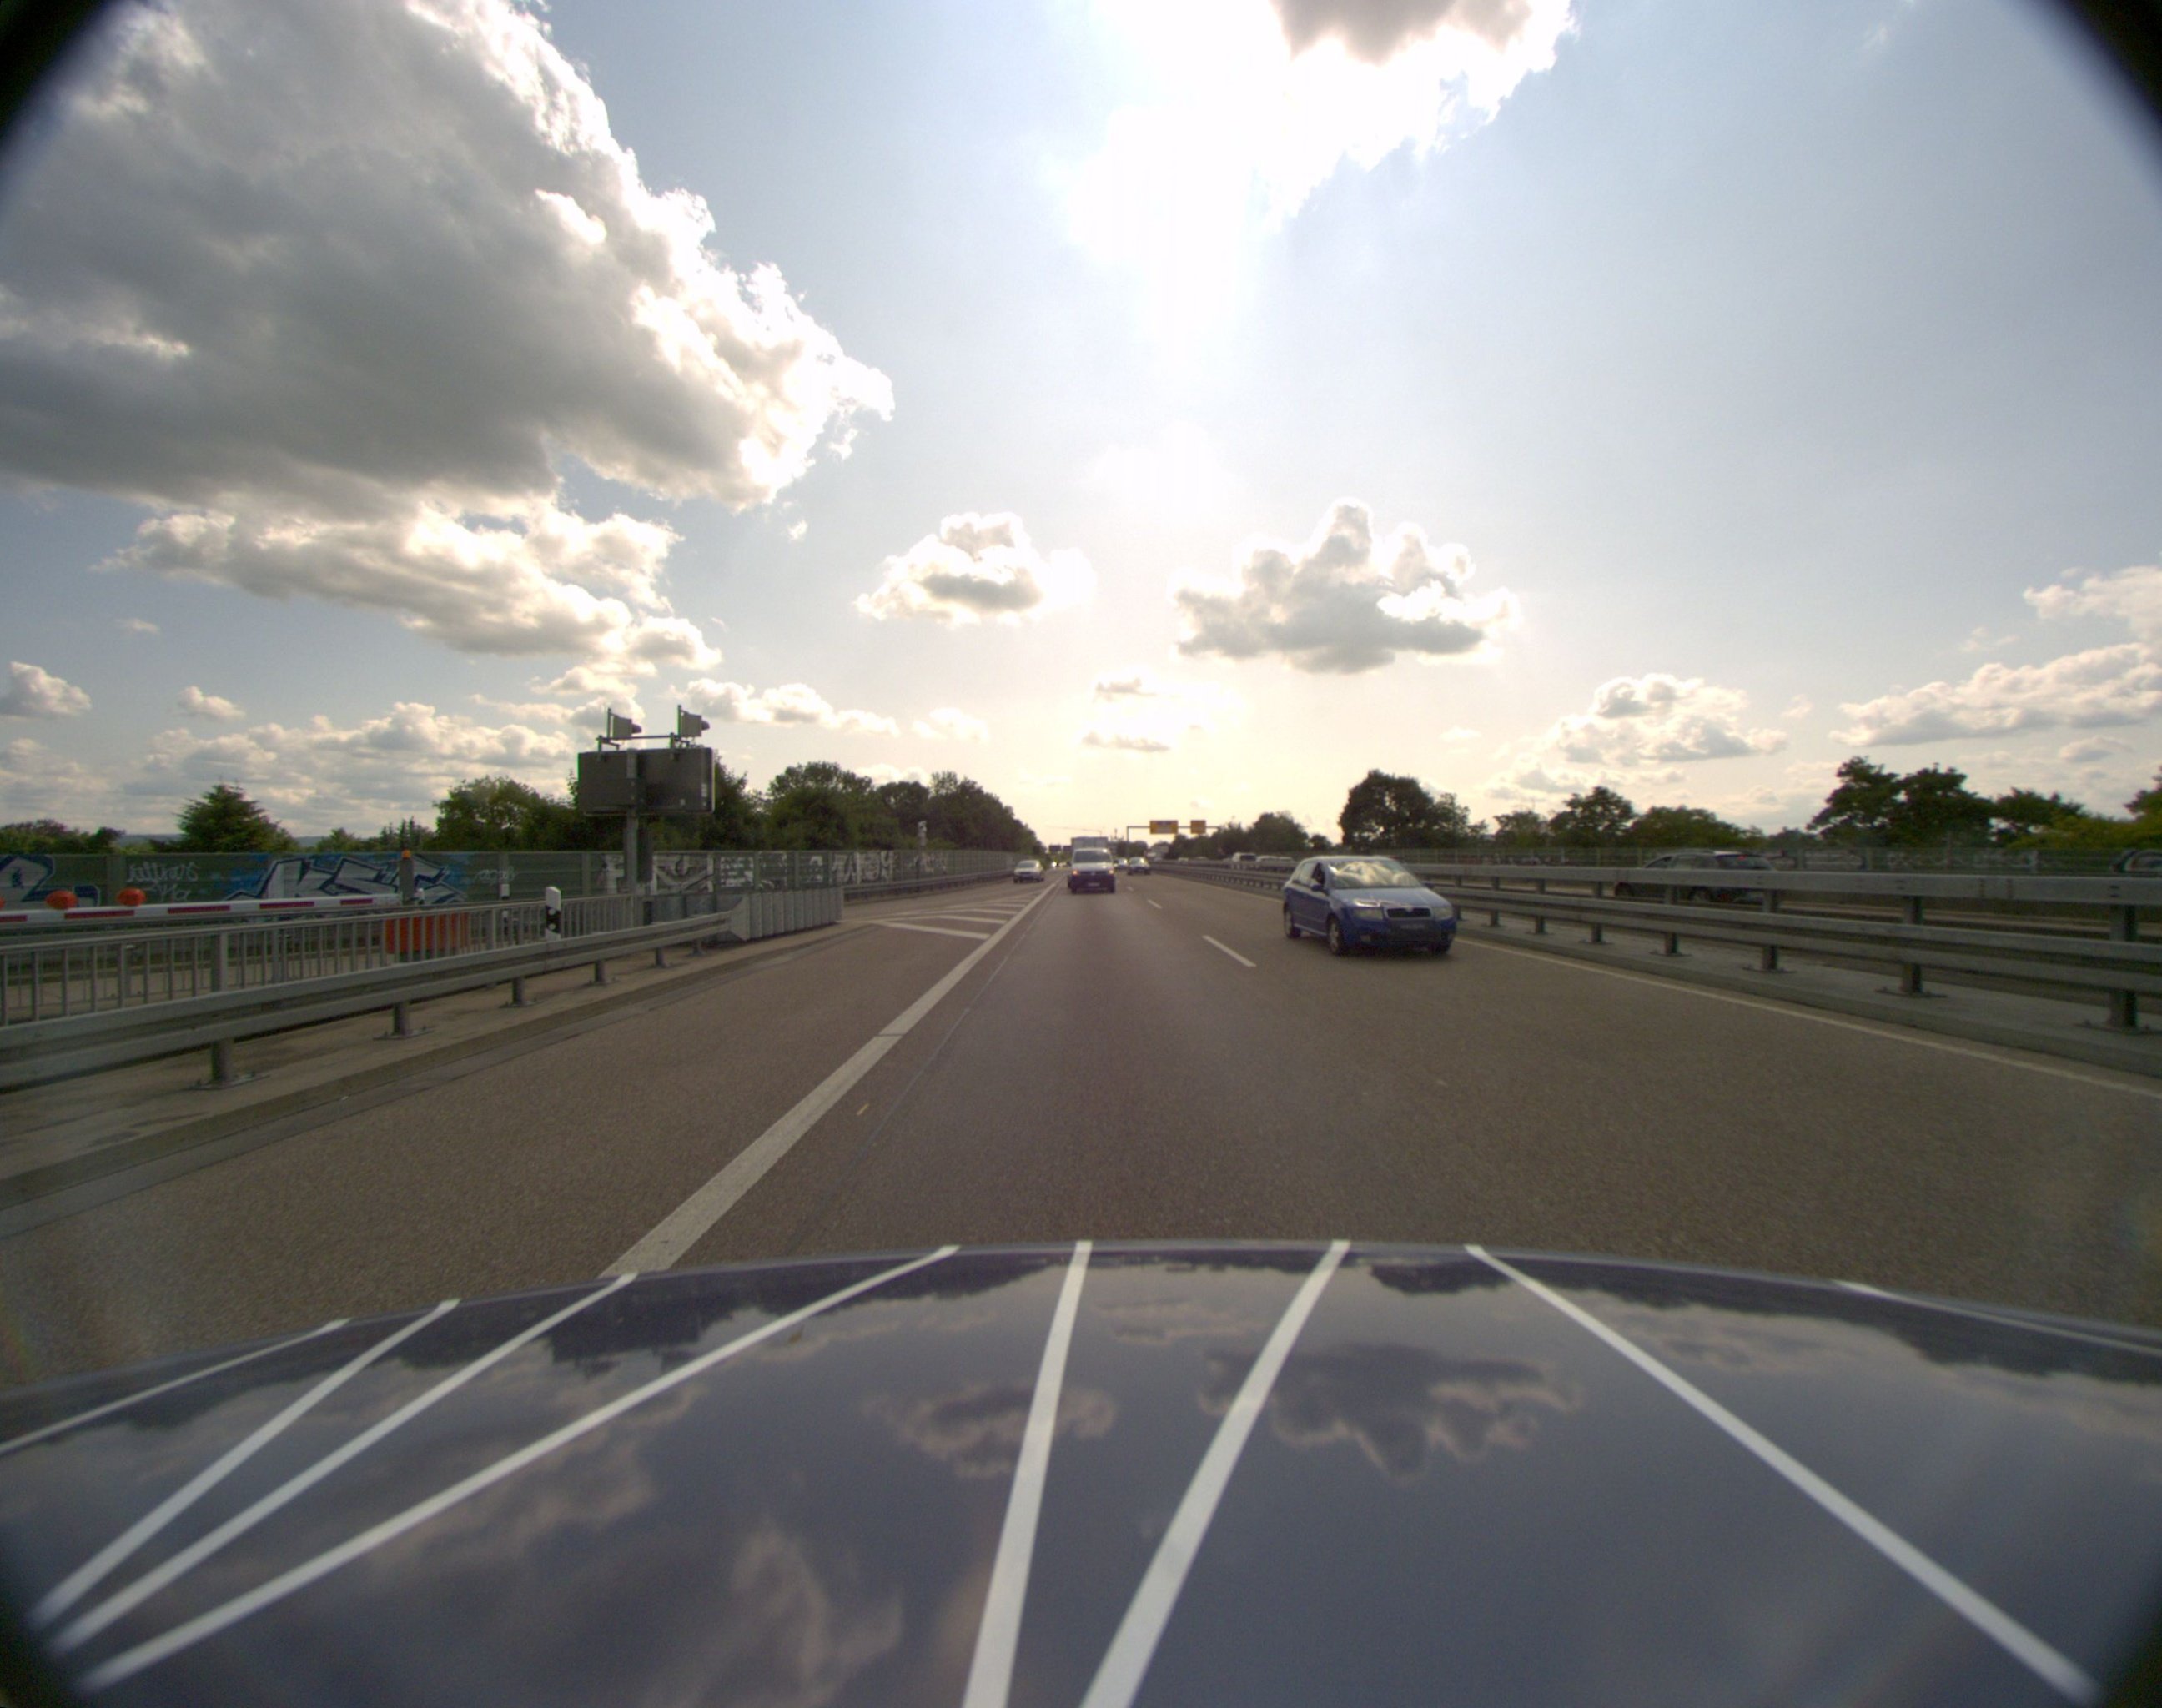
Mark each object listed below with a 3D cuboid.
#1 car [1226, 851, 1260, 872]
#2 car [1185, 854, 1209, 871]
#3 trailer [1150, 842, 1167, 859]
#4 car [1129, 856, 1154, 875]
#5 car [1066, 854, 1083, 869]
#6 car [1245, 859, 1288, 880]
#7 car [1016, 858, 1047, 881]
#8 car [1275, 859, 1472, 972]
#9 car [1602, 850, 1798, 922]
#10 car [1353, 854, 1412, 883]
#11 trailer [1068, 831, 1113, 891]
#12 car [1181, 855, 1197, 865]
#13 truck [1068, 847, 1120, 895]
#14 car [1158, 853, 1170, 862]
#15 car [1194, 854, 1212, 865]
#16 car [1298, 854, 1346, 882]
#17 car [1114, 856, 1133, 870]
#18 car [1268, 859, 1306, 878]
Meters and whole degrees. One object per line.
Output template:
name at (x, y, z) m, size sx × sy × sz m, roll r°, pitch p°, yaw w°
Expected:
car at (16.000, 0.780, 75.235) m, size 1.965 × 1.914 × 5.191 m, roll -3°, pitch -1°, yaw -2°
car at (11.562, 0.849, 75.956) m, size 1.679 × 1.562 × 4.060 m, roll -2°, pitch 0°, yaw -2°
trailer at (16.964, -0.754, 166.757) m, size 2.691 × 3.648 × 11.028 m, roll -2°, pitch 0°, yaw 1°
car at (5.080, 0.951, 64.370) m, size 1.779 × 1.518 × 4.464 m, roll -2°, pitch 0°, yaw 0°
car at (-0.770, 0.823, 87.078) m, size 1.802 × 1.586 × 3.985 m, roll -2°, pitch 0°, yaw 1°
car at (11.762, 0.968, 48.369) m, size 1.685 × 1.178 × 4.000 m, roll -2°, pitch 0°, yaw 0°
car at (-3.326, 1.031, 51.330) m, size 1.768 × 1.403 × 3.771 m, roll -2°, pitch 0°, yaw 0°
car at (4.341, 0.827, 11.911) m, size 1.625 × 1.403 × 3.771 m, roll -2°, pitch 0°, yaw 1°
car at (15.905, 0.740, 19.846) m, size 1.826 × 1.629 × 4.000 m, roll -2°, pitch 0°, yaw 0°
car at (16.127, 0.750, 40.817) m, size 1.602 × 1.466 × 3.630 m, roll 1°, pitch 0°, yaw -2°
trailer at (0.434, 0.301, 38.430) m, size 1.999 × 2.723 × 5.966 m, roll -2°, pitch 0°, yaw 0°
car at (16.670, 0.904, 117.508) m, size 1.929 × 1.565 × 3.886 m, roll -2°, pitch 0°, yaw -1°
truck at (0.506, 0.682, 32.157) m, size 2.008 × 1.905 × 4.000 m, roll -1°, pitch 0°, yaw 0°
car at (15.302, 0.572, 140.664) m, size 1.719 × 1.610 × 4.281 m, roll 1°, pitch 0°, yaw 0°
car at (17.645, 0.822, 110.080) m, size 1.929 × 1.565 × 4.282 m, roll -1°, pitch 0°, yaw -1°
car at (15.874, 0.922, 50.327) m, size 1.586 × 1.700 × 4.410 m, roll -2°, pitch -1°, yaw -2°
car at (4.932, 0.992, 88.906) m, size 1.895 × 1.518 × 4.464 m, roll -2°, pitch 0°, yaw 0°
car at (16.248, 1.154, 60.064) m, size 1.789 × 1.381 × 4.047 m, roll -2°, pitch -1°, yaw -2°
